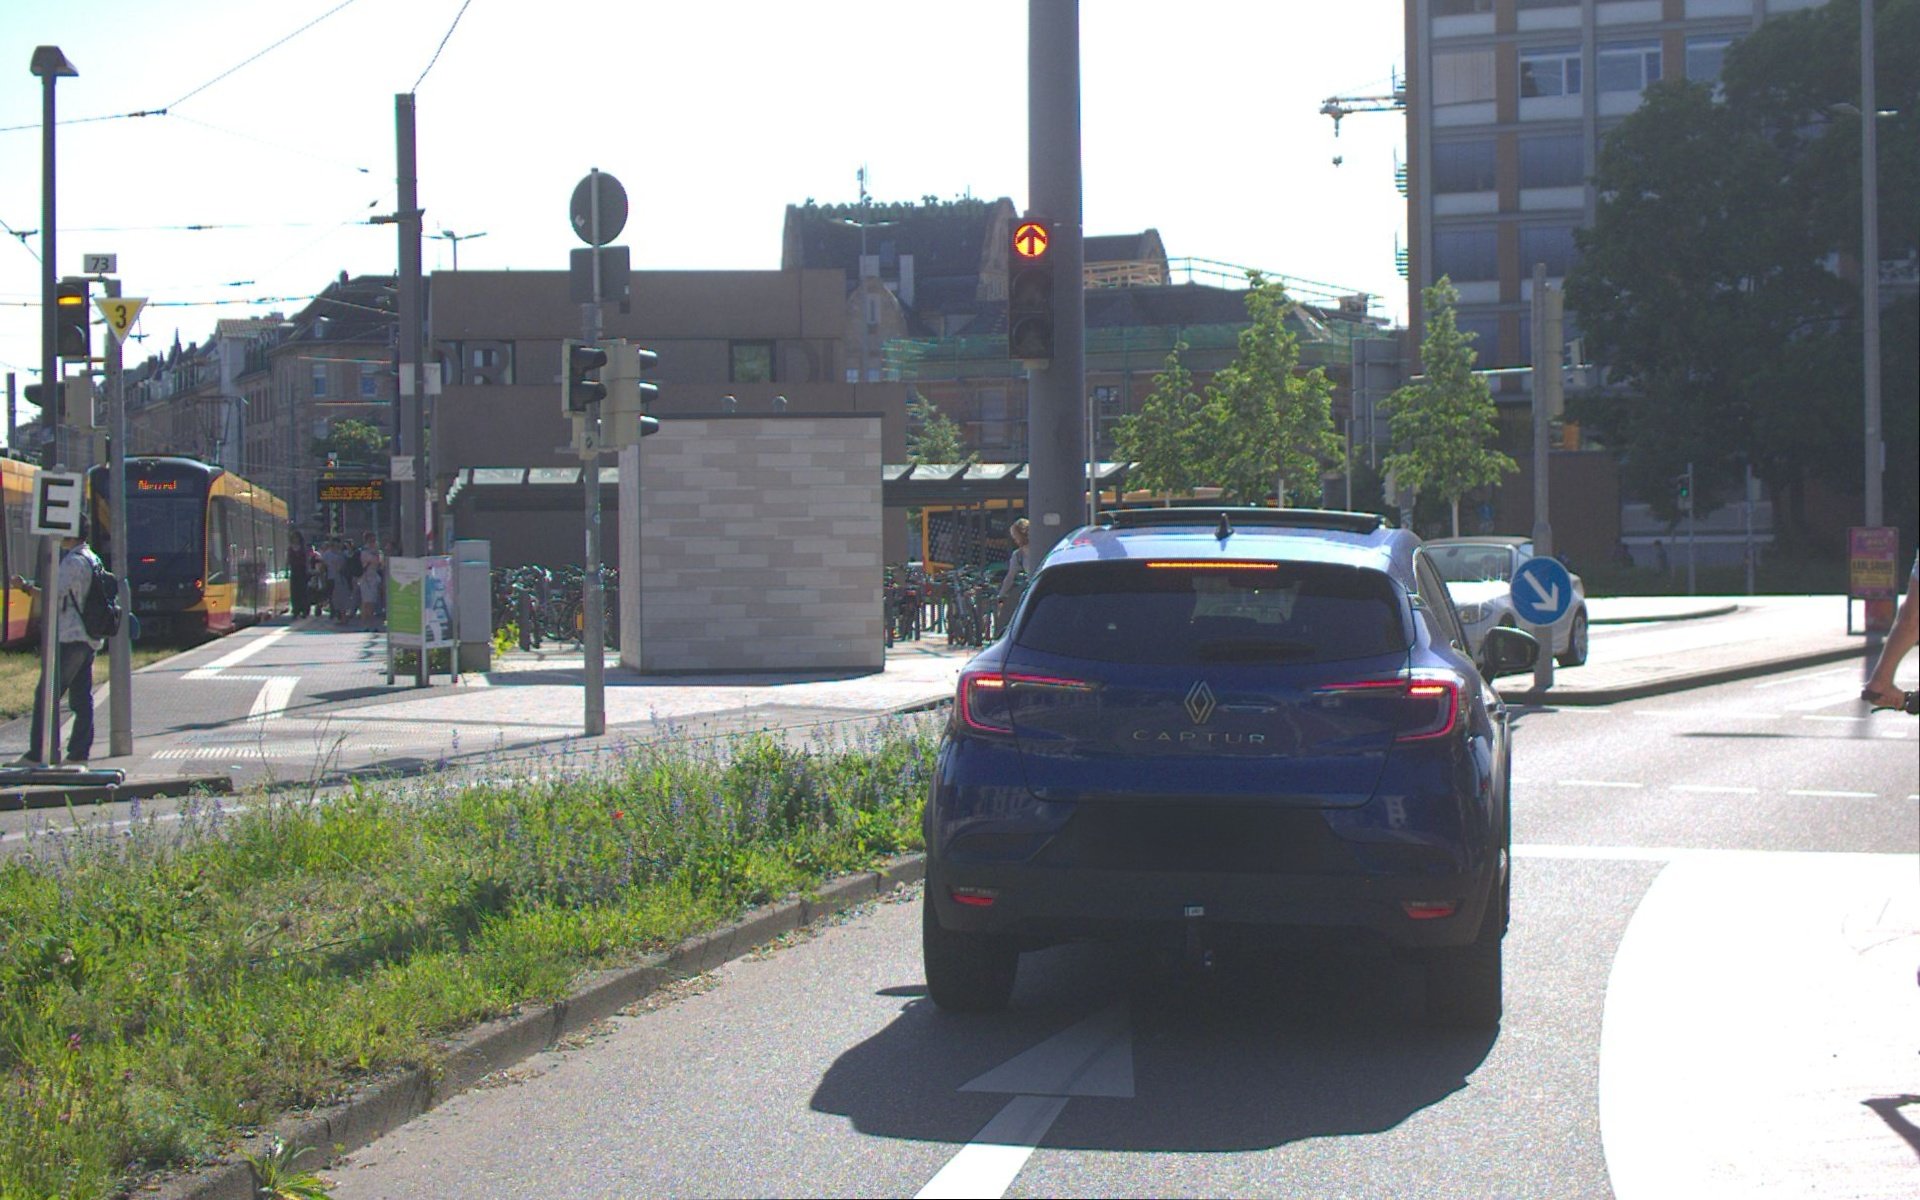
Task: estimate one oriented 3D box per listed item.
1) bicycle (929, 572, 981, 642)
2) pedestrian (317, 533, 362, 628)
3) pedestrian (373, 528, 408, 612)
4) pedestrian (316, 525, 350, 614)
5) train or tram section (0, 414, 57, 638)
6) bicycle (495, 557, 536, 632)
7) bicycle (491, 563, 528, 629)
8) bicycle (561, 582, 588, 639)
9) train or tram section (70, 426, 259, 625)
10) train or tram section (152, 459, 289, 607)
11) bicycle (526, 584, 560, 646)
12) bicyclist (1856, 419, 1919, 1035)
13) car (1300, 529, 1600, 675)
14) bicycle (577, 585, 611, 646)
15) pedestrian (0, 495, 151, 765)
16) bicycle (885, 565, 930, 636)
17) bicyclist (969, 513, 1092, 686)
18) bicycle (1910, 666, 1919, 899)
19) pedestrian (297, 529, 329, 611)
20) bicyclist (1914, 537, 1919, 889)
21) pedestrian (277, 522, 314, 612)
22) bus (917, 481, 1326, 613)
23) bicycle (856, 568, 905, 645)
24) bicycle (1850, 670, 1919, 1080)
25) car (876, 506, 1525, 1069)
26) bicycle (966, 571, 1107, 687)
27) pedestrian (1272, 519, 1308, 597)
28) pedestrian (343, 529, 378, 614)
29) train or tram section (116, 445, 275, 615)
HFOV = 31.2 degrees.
[{"bbox_3d":[-0.078,0.105,48.396,0.580,0.958,2.059,1,0,-4],"label":"bicycle"},{"bbox_3d":[-12.284,-0.382,68.002,0.847,1.877,0.761,1,0,-11],"label":"pedestrian"},{"bbox_3d":[-13.003,-0.679,78.499,0.739,1.911,0.743,1,0,-12],"label":"pedestrian"},{"bbox_3d":[-13.174,-0.636,72.263,0.632,1.850,0.703,1,0,-14],"label":"pedestrian"},{"bbox_3d":[-16.770,-1.194,55.978,2.816,3.496,11.213,0,1,-9],"label":"train or tram section"},{"bbox_3d":[-6.693,-0.079,51.844,0.566,1.090,2.030,1,0,-6],"label":"bicycle"},{"bbox_3d":[-7.629,-0.062,58.254,0.566,1.090,2.030,1,0,-6],"label":"bicycle"},{"bbox_3d":[-6.575,0.172,58.601,0.421,0.934,1.379,1,0,-7],"label":"bicycle"},{"bbox_3d":[-15.075,-1.370,65.820,2.870,3.496,10.546,0,1,-9],"label":"train or tram section"},{"bbox_3d":[-18.523,-1.665,86.621,2.870,3.496,10.546,0,1,-9],"label":"train or tram section"},{"bbox_3d":[-6.502,0.227,53.556,0.421,0.934,1.306,1,0,-10],"label":"bicycle"},{"bbox_3d":[3.022,0.351,10.156,0.664,1.741,1.005,0,1,11],"label":"bicyclist"},{"bbox_3d":[5.051,-0.012,35.016,1.802,1.388,4.087,0,1,27],"label":"car"},{"bbox_3d":[-5.737,0.236,53.825,0.421,0.934,1.306,1,0,-10],"label":"bicycle"},{"bbox_3d":[-6.165,0.208,23.760,1.016,1.826,0.761,1,0,-19],"label":"pedestrian"},{"bbox_3d":[-0.836,0.008,54.139,0.580,1.084,2.059,1,0,-4],"label":"bicycle"},{"bbox_3d":[0.690,-0.009,33.243,0.880,1.639,1.059,-1,0,19],"label":"bicyclist"},{"bbox_3d":[4.629,0.763,15.181,0.723,0.956,1.882,1,1,18],"label":"bicycle"},{"bbox_3d":[-14.697,-0.677,78.097,0.632,1.850,0.703,1,0,-4],"label":"pedestrian"},{"bbox_3d":[4.584,0.417,15.022,0.722,1.620,1.054,1,1,19],"label":"bicyclist"},{"bbox_3d":[-14.272,-0.711,73.889,0.740,1.911,0.742,1,0,-10],"label":"pedestrian"},{"bbox_3d":[4.218,-1.402,94.010,12.438,3.384,2.875,0,0,45],"label":"bus"},{"bbox_3d":[-1.123,0.092,48.108,0.580,1.054,1.816,1,0,-4],"label":"bicycle"},{"bbox_3d":[3.036,0.766,10.189,0.663,1.043,1.889,0,1,11],"label":"bicycle"},{"bbox_3d":[0.981,0.505,11.828,1.824,1.594,3.657,1,1,10],"label":"car"},{"bbox_3d":[0.758,0.270,33.253,0.774,1.077,2.034,-1,0,19],"label":"bicycle"},{"bbox_3d":[7.899,-1.002,82.312,0.725,1.850,0.703,1,0,-6],"label":"pedestrian"},{"bbox_3d":[-13.198,-0.621,75.706,0.673,1.850,0.703,1,0,-4],"label":"pedestrian"},{"bbox_3d":[-16.823,-1.508,76.223,2.870,3.496,10.546,0,1,-9],"label":"train or tram section"}]
